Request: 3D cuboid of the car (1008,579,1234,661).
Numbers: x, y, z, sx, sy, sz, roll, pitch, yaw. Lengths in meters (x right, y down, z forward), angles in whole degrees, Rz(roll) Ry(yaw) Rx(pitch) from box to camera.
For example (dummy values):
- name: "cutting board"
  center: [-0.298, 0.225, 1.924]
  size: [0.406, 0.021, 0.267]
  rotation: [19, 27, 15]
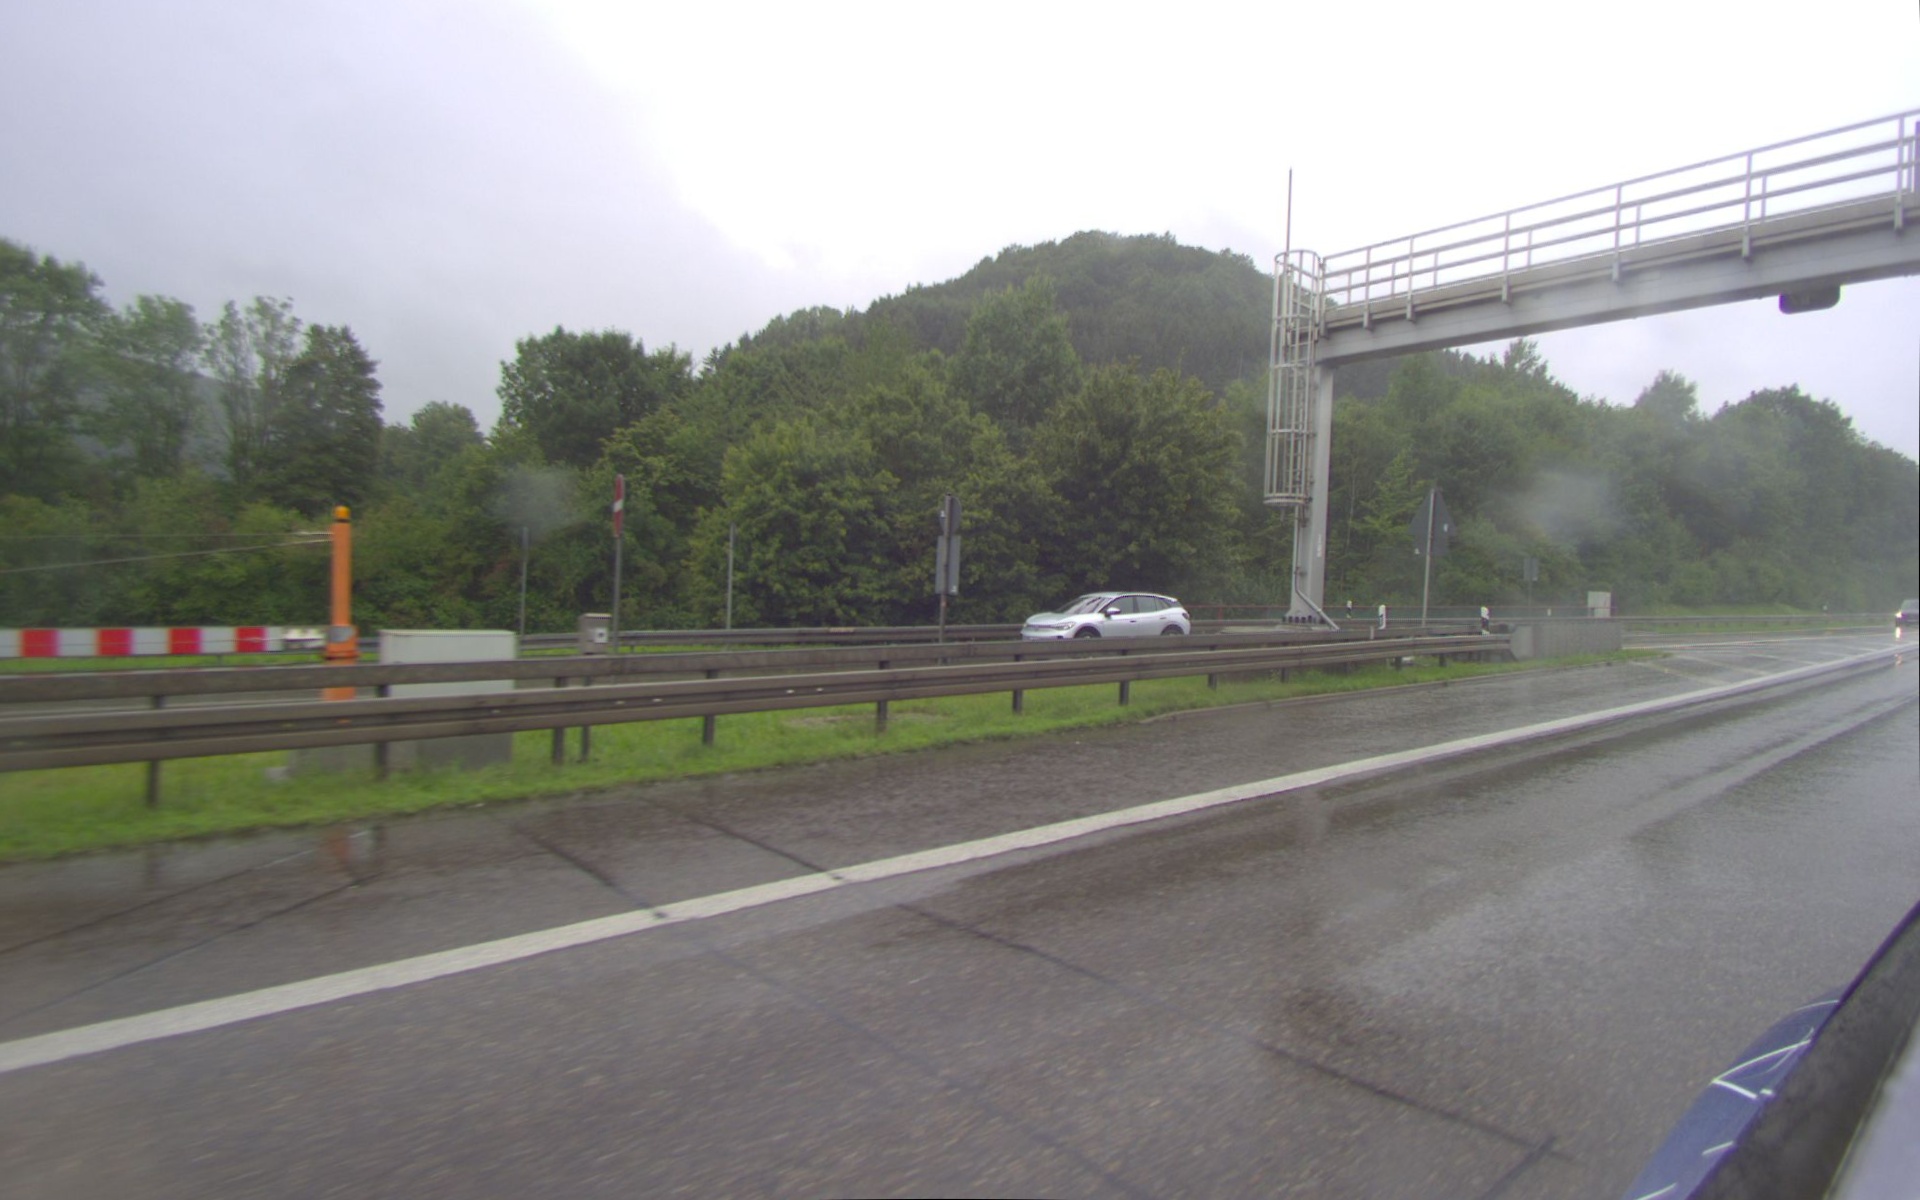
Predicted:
- name: "car"
  center: [3.976, 0.417, 24.523]
  size: [5.554, 1.772, 2.000]
  rotation: [-1, 0, -34]
